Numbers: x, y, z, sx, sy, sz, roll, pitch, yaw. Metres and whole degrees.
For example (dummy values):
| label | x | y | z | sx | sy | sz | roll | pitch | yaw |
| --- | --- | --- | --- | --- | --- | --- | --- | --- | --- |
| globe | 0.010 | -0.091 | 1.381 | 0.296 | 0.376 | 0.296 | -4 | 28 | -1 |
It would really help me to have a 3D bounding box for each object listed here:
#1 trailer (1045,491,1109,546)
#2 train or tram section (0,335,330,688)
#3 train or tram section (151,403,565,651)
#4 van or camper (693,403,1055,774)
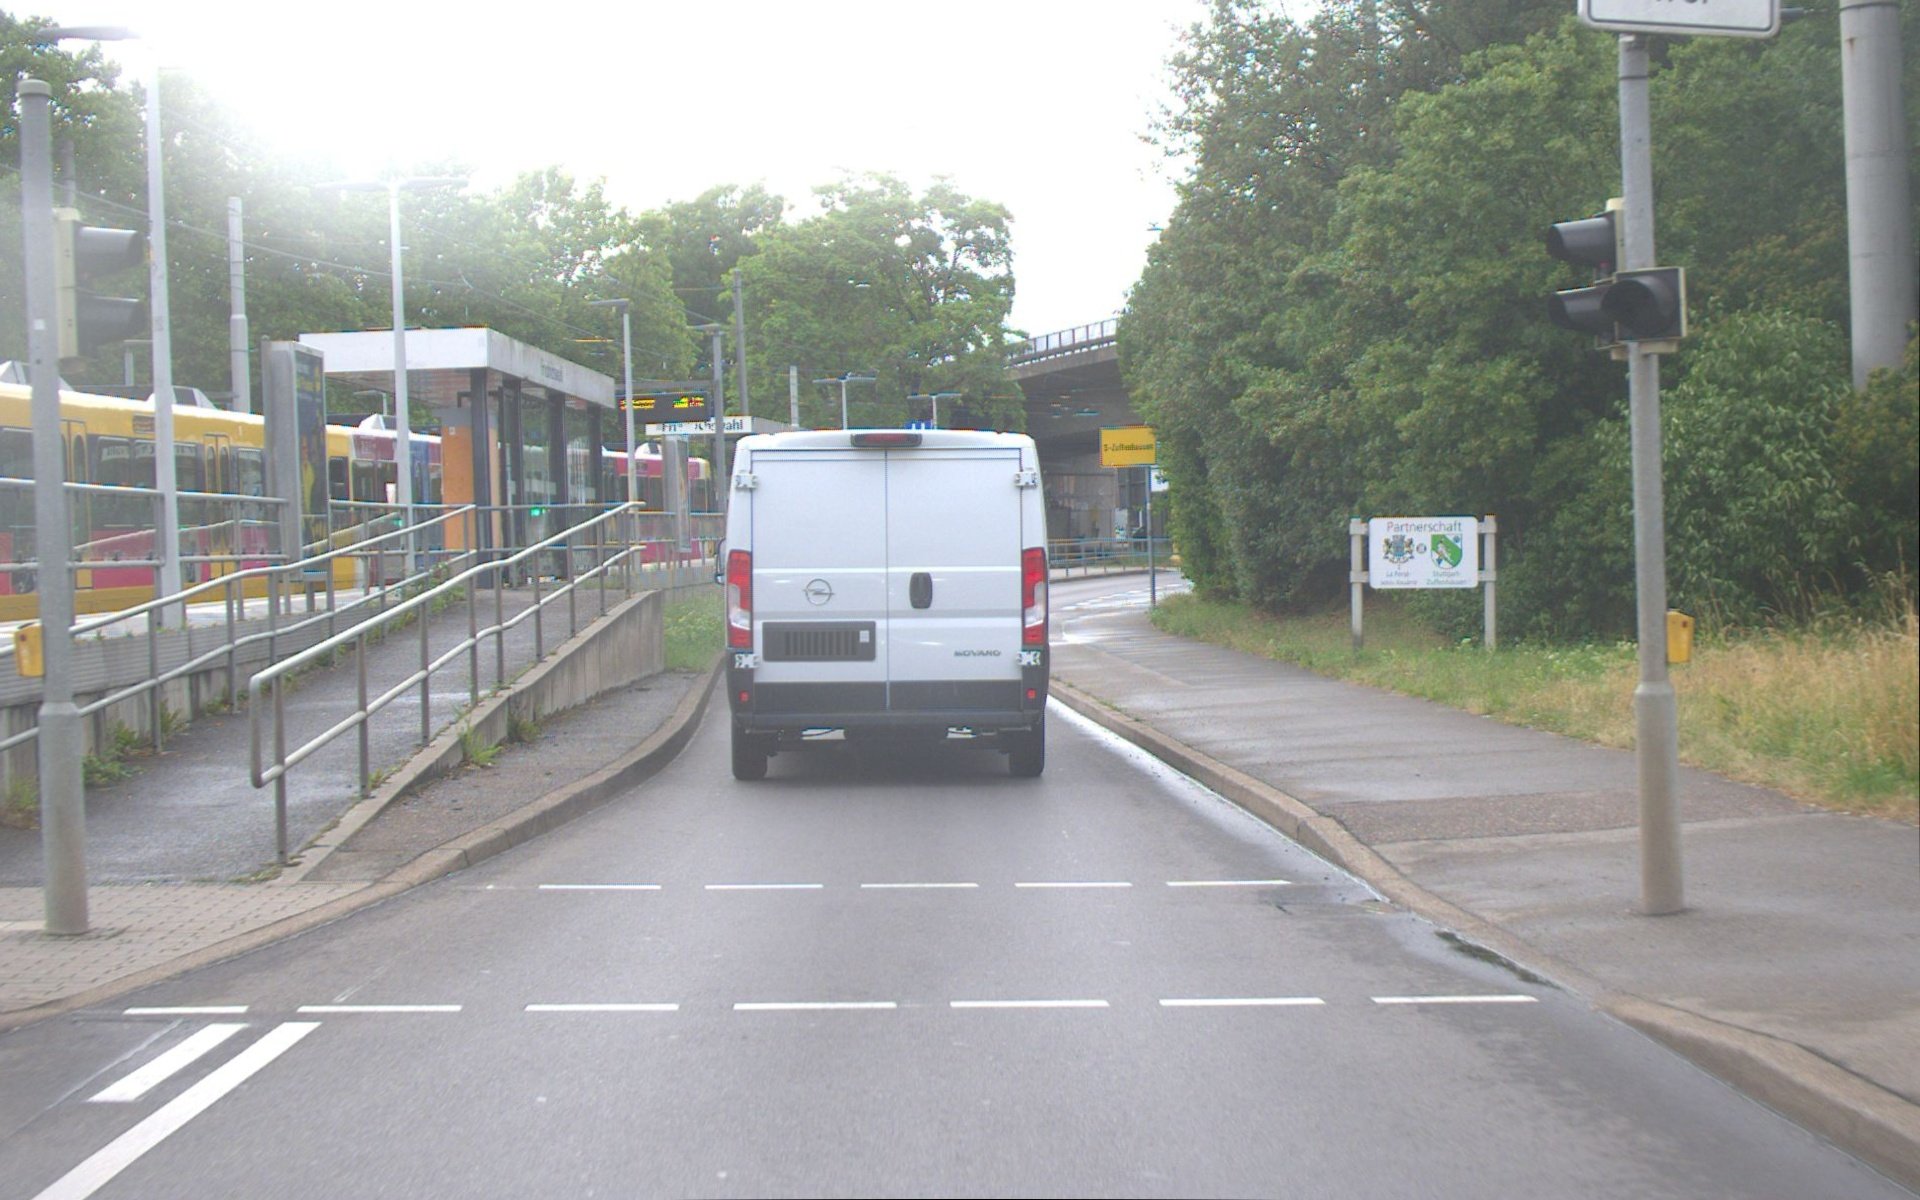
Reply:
| label | x | y | z | sx | sy | sz | roll | pitch | yaw |
| --- | --- | --- | --- | --- | --- | --- | --- | --- | --- |
| trailer | 5.929 | -4.110 | 174.829 | 1.993 | 2.716 | 4.124 | 0 | 0 | -18 |
| train or tram section | -11.918 | -1.075 | 45.815 | 2.868 | 3.940 | 19.330 | 1 | 1 | 2 |
| train or tram section | -10.815 | -1.269 | 65.046 | 2.868 | 3.957 | 19.328 | 1 | 1 | 5 |
| van or camper | -0.679 | -0.091 | 23.454 | 2.198 | 2.245 | 4.685 | 1 | 1 | -4 |
